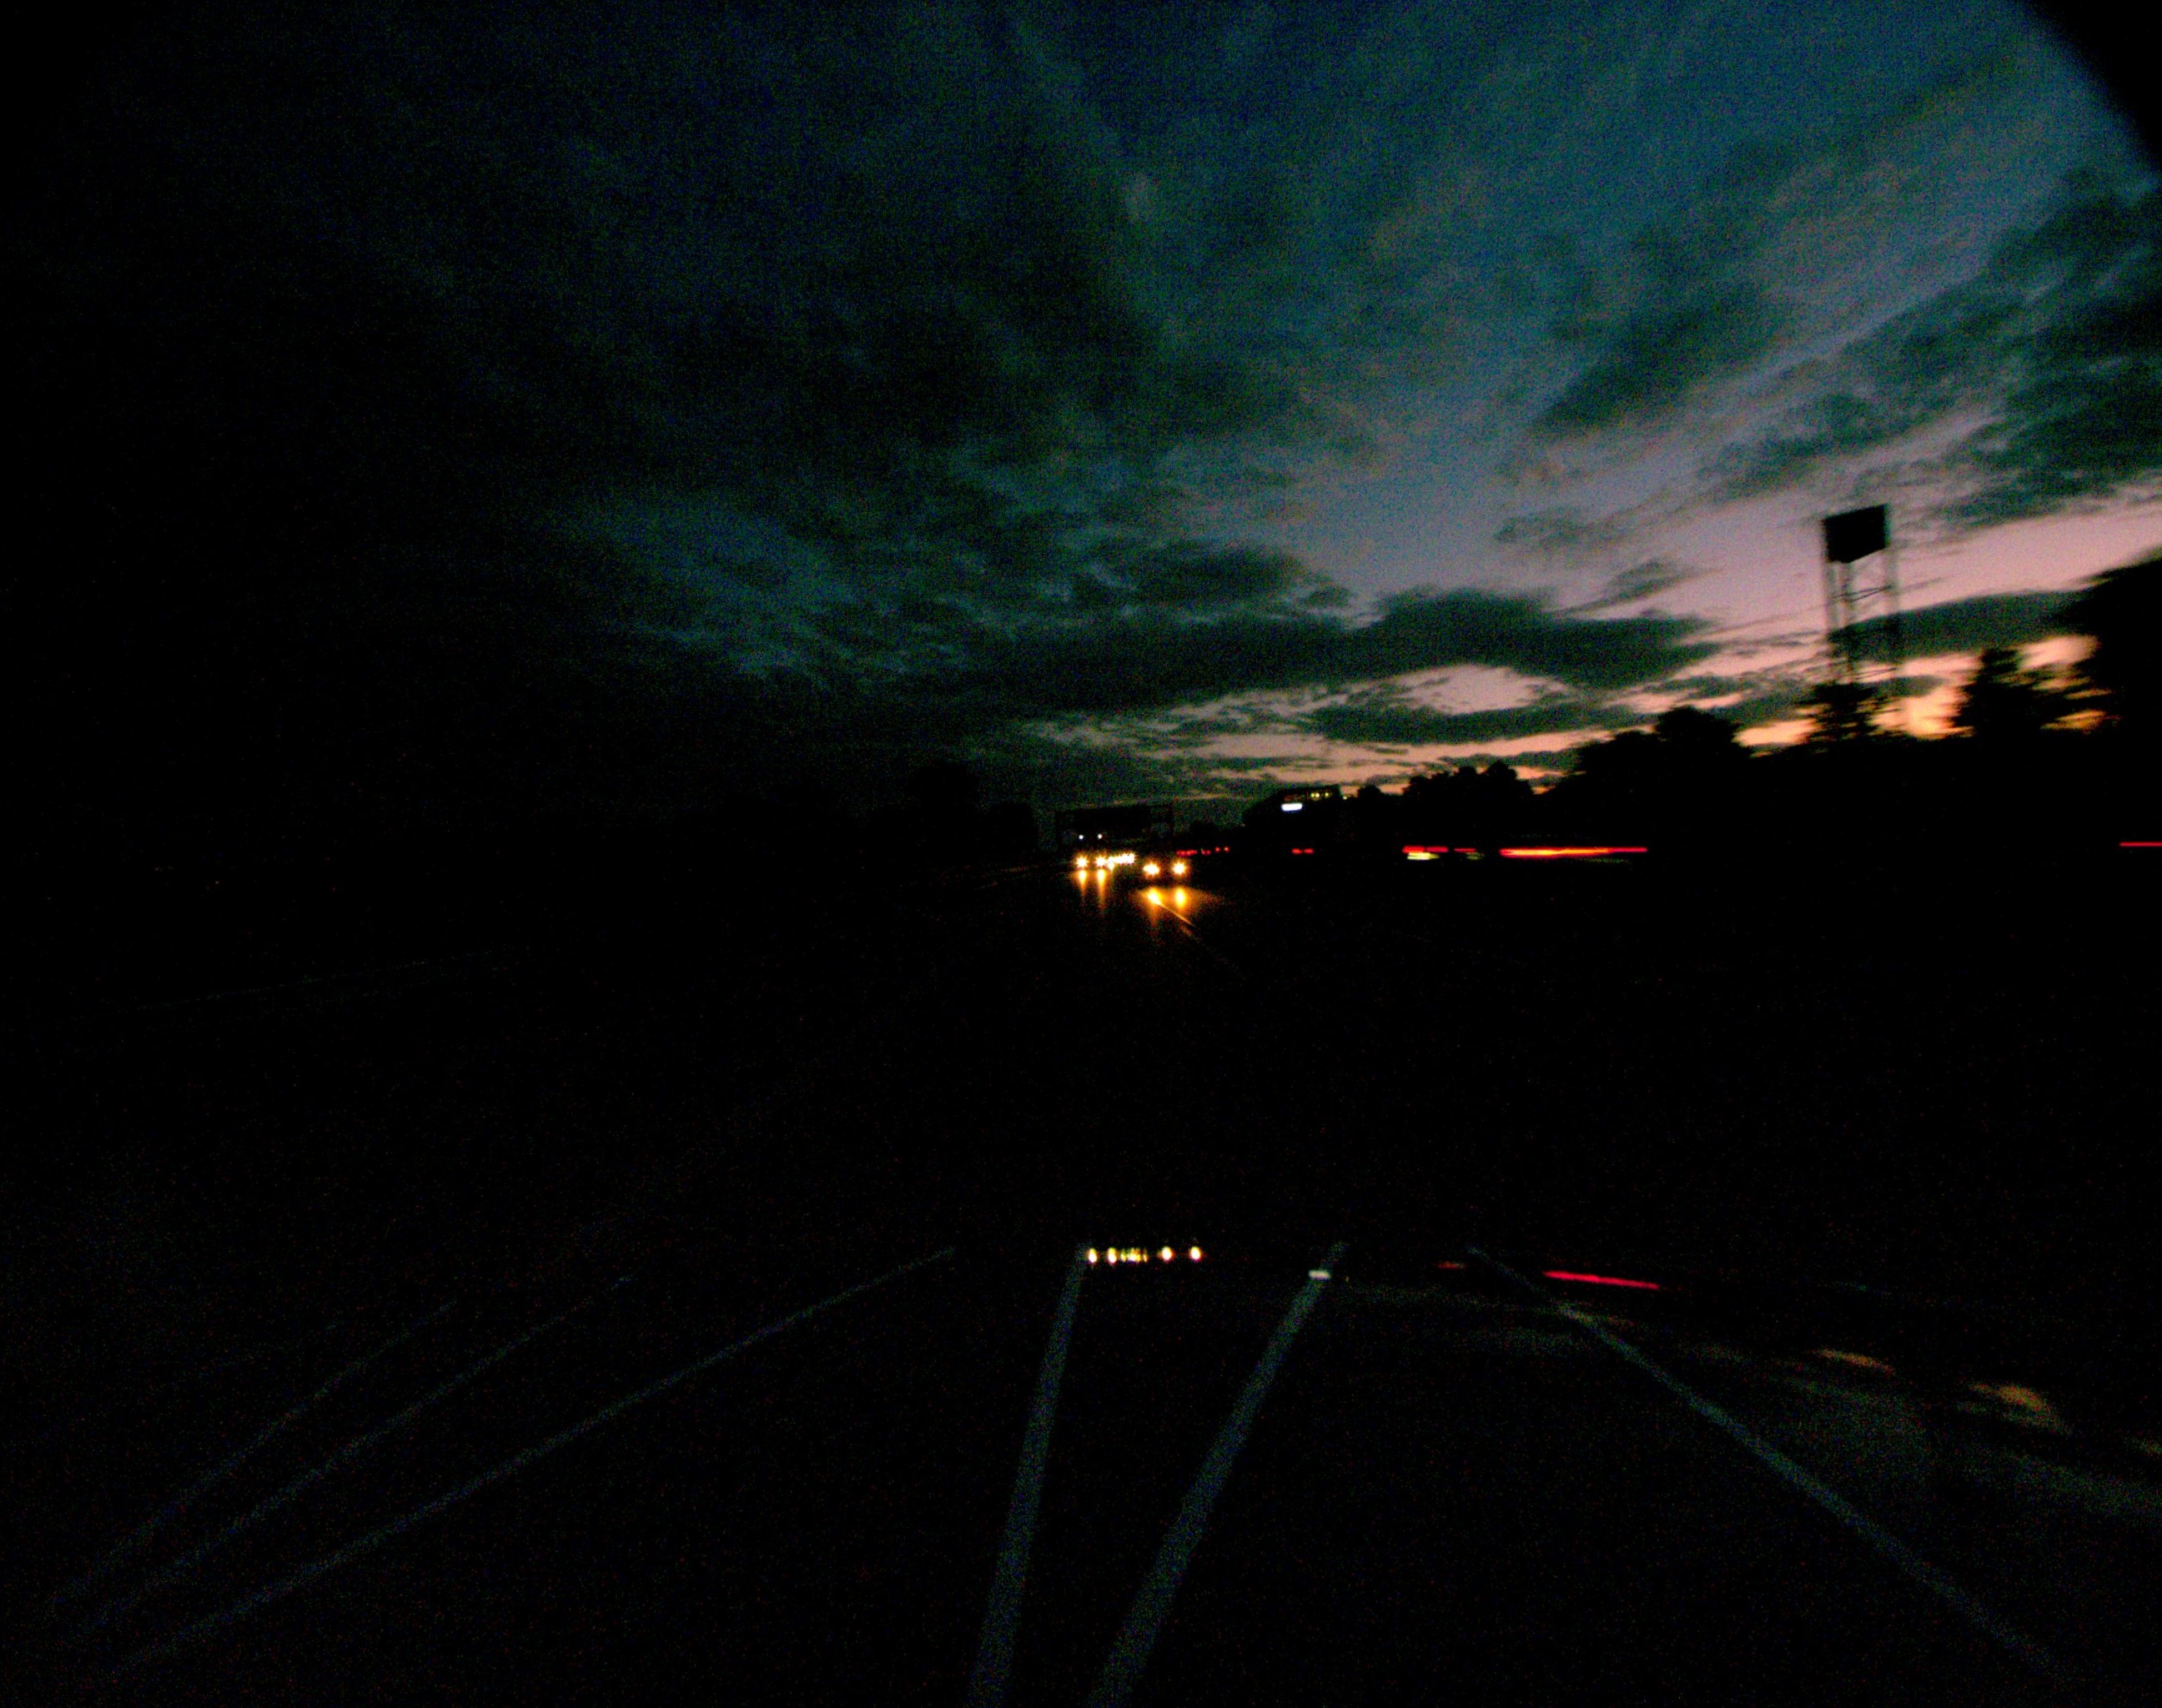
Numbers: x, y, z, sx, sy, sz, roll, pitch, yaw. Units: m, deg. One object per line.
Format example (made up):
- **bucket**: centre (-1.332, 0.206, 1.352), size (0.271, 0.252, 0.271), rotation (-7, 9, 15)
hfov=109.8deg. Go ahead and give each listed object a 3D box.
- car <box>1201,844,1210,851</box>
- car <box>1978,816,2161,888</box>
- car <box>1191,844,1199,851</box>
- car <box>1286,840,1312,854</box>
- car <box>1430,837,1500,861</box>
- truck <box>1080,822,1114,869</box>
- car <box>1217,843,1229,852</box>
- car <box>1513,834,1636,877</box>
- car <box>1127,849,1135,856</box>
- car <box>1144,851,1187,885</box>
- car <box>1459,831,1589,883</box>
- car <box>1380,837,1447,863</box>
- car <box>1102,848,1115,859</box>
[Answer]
- **car**: centre (32.669, -1.639, 199.055), size (1.792, 1.627, 4.582), rotation (-2, 1, 3)
- **car**: centre (23.217, -0.076, 16.705), size (1.998, 1.451, 4.236), rotation (-2, 1, 1)
- **car**: centre (34.631, -2.041, 231.124), size (1.998, 2.002, 3.999), rotation (-2, 1, 1)
- **car**: centre (25.836, -0.841, 90.010), size (1.792, 1.534, 4.581), rotation (-2, 1, 1)
- **car**: centre (24.677, -0.314, 49.078), size (1.998, 1.393, 5.023), rotation (-2, 1, 1)
- **truck**: centre (1.521, -0.914, 78.114), size (3.027, 4.372, 11.613), rotation (-2, 1, 0)
- **car**: centre (29.733, -1.293, 159.237), size (1.792, 1.799, 4.582), rotation (-2, 1, 3)
- **car**: centre (19.616, 0.024, 30.465), size (1.998, 1.496, 4.558), rotation (-2, 1, 1)
- **car**: centre (11.556, -0.374, 175.689), size (1.653, 1.654, 3.775), rotation (-2, 1, 2)
- **car**: centre (4.092, 0.647, 37.291), size (1.717, 1.471, 4.000), rotation (-2, 1, 1)
- **car**: centre (16.598, 0.079, 28.843), size (1.998, 1.725, 5.050), rotation (-2, 1, 1)
- **car**: centre (20.341, -0.269, 46.738), size (1.998, 1.464, 5.023), rotation (-2, 1, 1)
- **car**: centre (4.625, -0.073, 128.245), size (1.998, 1.715, 4.000), rotation (-2, 1, 2)
